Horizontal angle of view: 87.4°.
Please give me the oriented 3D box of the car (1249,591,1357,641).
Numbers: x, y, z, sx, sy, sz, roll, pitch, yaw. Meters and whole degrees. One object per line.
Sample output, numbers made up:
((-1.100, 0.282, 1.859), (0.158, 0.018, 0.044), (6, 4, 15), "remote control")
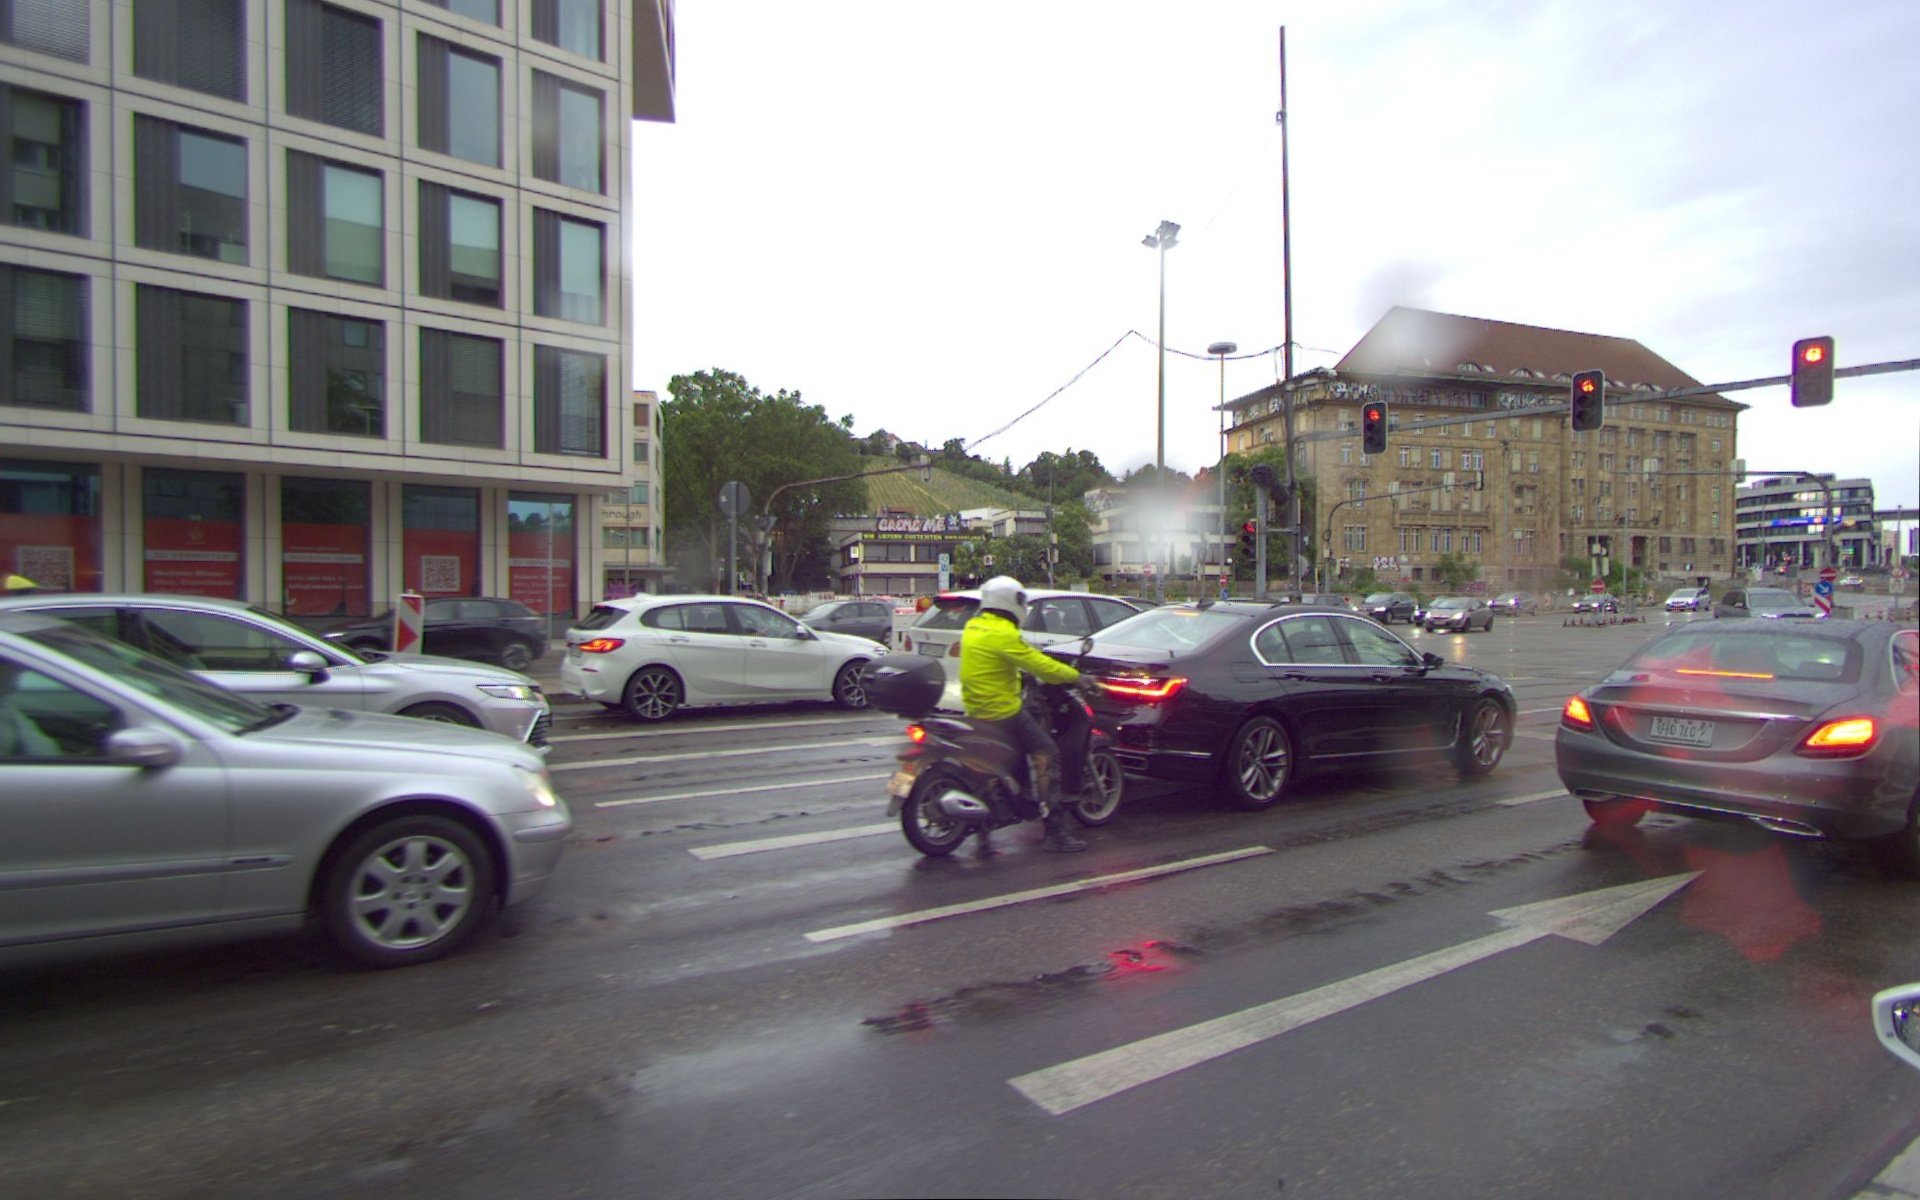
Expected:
((11.943, 0.551, 34.844), (4.044, 1.595, 1.785), (2, 0, -42), "car")

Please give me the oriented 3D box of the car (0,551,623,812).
((-5.141, 0.495, 7.373), (4.751, 1.541, 1.820), (2, 0, -34), "car")

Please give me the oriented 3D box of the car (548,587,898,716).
((-2.945, 0.595, 12.754), (3.953, 1.391, 1.772), (2, 0, -34), "car")

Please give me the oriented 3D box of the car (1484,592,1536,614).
((34.357, 0.180, 62.752), (3.970, 1.277, 1.609), (2, 0, -42), "car")

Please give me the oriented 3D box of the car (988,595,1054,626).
((4.312, 0.703, 71.328), (4.152, 2.040, 1.995), (2, 0, 32), "car")

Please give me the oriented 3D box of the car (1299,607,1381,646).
((15.877, 1.095, 41.902), (3.526, 1.539, 1.683), (1, -2, -40), "car")

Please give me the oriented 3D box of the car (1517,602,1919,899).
((5.976, 0.767, 7.027), (4.437, 1.421, 1.773), (-1, 1, -33), "car")

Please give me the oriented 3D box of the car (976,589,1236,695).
((2.473, 0.691, 17.023), (4.016, 1.621, 1.778), (2, 0, -24), "car")

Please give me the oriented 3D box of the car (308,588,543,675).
((-10.472, 0.606, 19.796), (3.843, 1.539, 1.683), (1, -2, -40), "car")

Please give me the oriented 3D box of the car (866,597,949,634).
((-2.526, 0.727, 47.790), (3.943, 1.617, 1.666), (2, 0, 43), "car")

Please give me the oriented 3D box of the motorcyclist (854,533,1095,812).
((0.081, 0.393, 6.096), (1.091, 1.495, 0.934), (1, 0, -38), "motorcyclist")

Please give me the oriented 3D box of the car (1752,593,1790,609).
((70.040, 0.107, 86.744), (3.967, 1.277, 1.753), (2, 0, -40), "car")

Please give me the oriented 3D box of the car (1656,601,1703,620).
((51.851, 0.779, 72.354), (4.159, 1.277, 1.753), (2, 0, -40), "car")

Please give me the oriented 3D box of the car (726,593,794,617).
((-12.827, 0.315, 64.386), (3.919, 1.339, 1.655), (2, 0, 13), "car")

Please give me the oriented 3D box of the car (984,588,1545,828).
((2.781, 0.748, 8.642), (4.949, 1.535, 1.876), (2, 0, -33), "car")

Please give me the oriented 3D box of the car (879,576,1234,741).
((1.209, 0.610, 11.797), (3.959, 1.637, 1.722), (2, 0, -35), "car")

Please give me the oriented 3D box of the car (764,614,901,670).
((-3.642, 1.181, 29.066), (3.662, 1.539, 1.682), (1, -2, -43), "car")

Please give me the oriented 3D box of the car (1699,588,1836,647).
((27.419, 0.561, 34.342), (1.960, 1.821, 5.103), (2, 0, 19), "car")

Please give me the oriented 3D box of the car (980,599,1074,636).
((3.346, 0.839, 50.409), (4.322, 1.684, 1.994), (2, 0, 35), "car")

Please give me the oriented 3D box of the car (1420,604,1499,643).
((21.614, 1.017, 43.426), (3.970, 1.595, 1.682), (2, 0, -42), "car")

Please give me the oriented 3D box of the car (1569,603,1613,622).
((44.166, 0.872, 70.293), (3.304, 1.277, 1.722), (2, 0, -42), "car")

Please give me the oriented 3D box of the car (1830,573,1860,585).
((139.216, -3.269, 158.030), (1.960, 1.840, 4.001), (2, 0, 16), "car")

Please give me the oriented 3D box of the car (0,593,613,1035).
((-3.793, 0.695, 3.874), (4.338, 1.422, 1.722), (2, 0, -34), "car")

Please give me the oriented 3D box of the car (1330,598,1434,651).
((14.117, 0.812, 33.511), (3.970, 1.635, 1.609), (2, 0, -42), "car")

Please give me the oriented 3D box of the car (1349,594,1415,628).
((22.095, 0.587, 52.571), (3.970, 1.668, 1.609), (2, 0, -42), "car")

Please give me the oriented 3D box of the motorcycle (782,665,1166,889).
((0.150, 0.964, 6.157), (2.274, 1.002, 0.934), (1, 1, -39), "motorcycle")
